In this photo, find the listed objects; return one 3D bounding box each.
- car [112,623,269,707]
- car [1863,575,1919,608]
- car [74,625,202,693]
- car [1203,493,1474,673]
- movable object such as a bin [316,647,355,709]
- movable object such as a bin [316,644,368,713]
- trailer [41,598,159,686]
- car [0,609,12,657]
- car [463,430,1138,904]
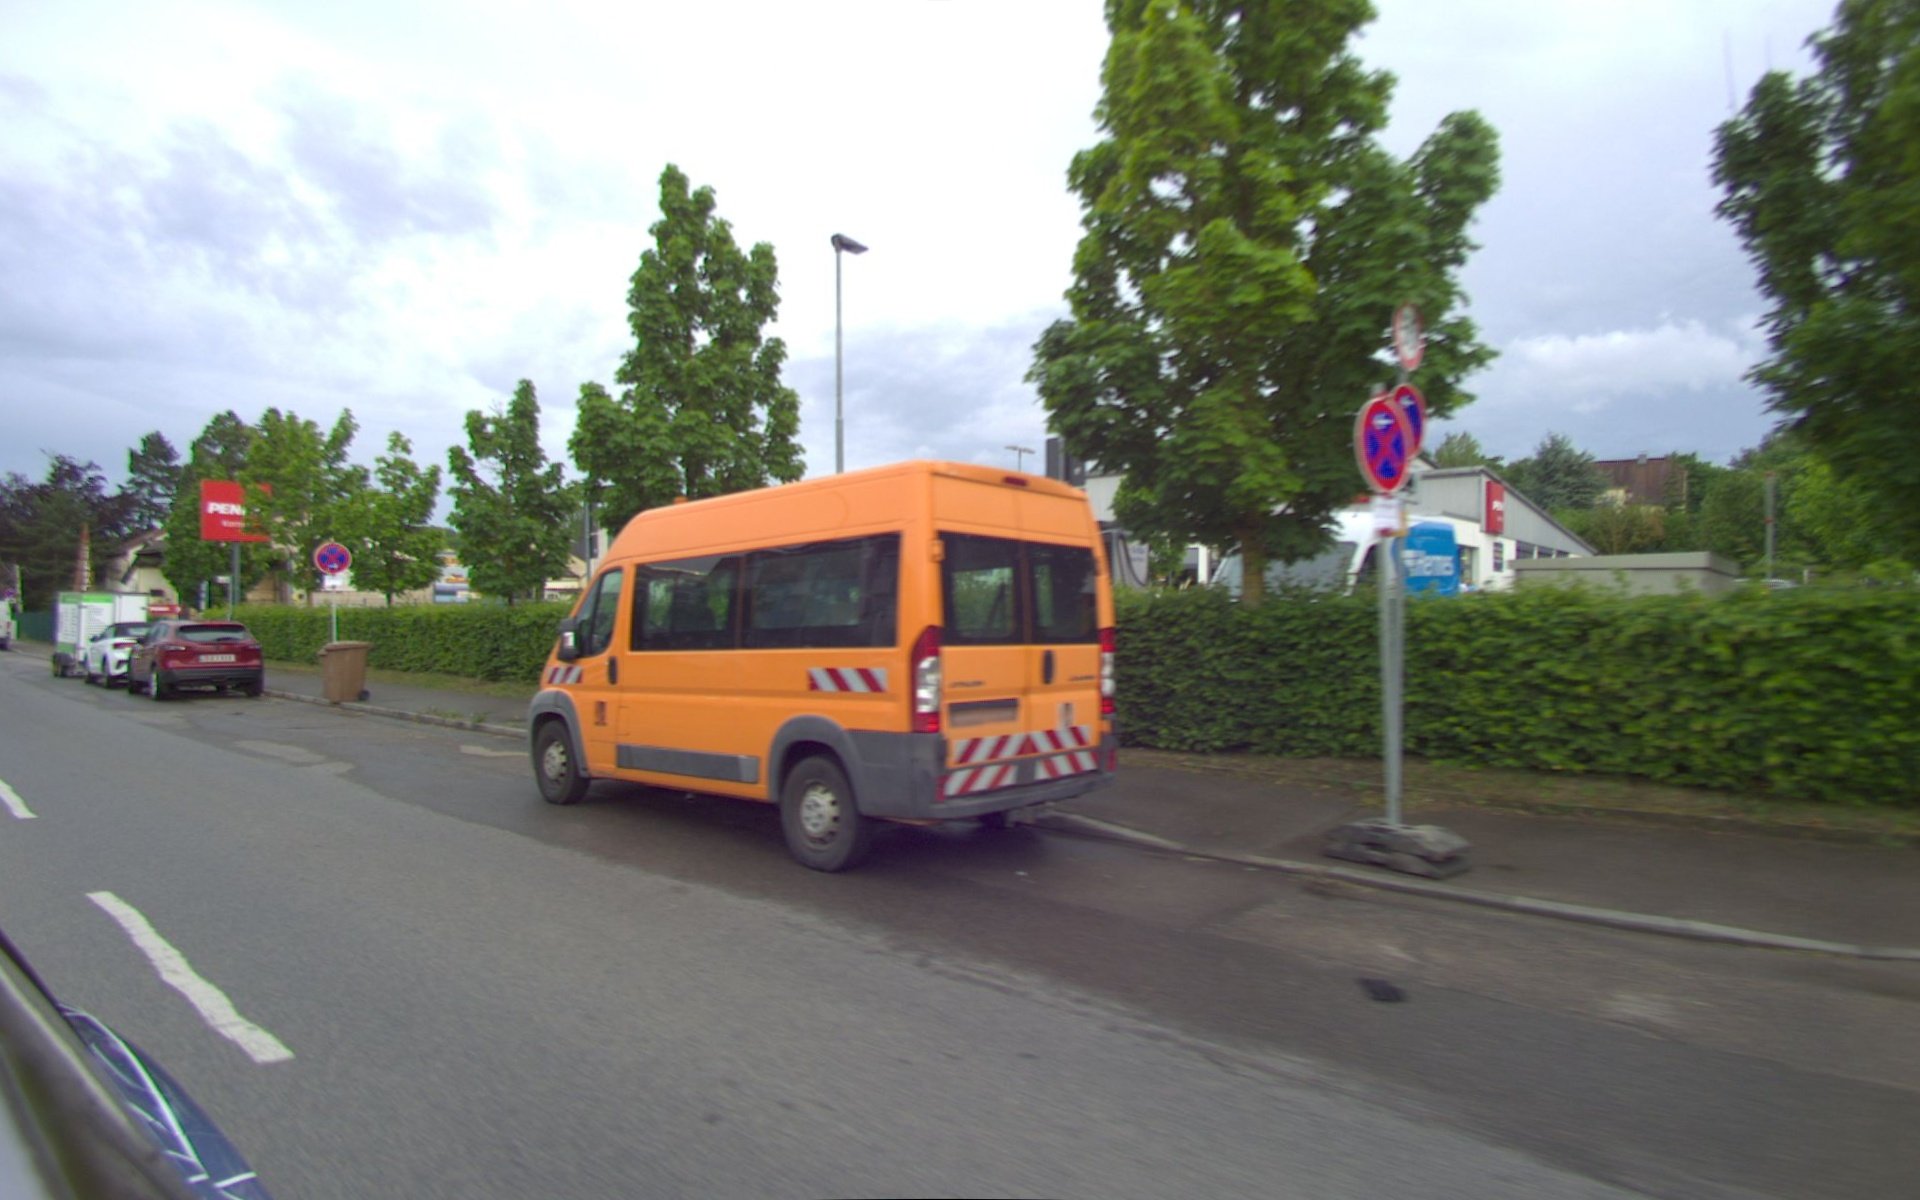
[{"bbox_3d":[-16.315,1.294,21.376,4.340,1.585,1.786,-1,-2,41],"label":"car"},{"bbox_3d":[52.352,-0.469,56.858,1.971,1.786,4.185,-1,0,36],"label":"car"},{"bbox_3d":[-20.110,1.397,24.707,4.134,1.510,1.754,-2,-2,41],"label":"car"},{"bbox_3d":[5.266,-0.218,13.757,2.062,2.029,4.261,-1,0,41],"label":"car"},{"bbox_3d":[-11.587,1.440,18.780,0.485,1.090,0.621,-1,0,-44],"label":"movable object such as a bin"},{"bbox_3d":[-11.161,1.407,18.286,0.664,1.166,0.622,-1,0,-44],"label":"movable object such as a bin"},{"bbox_3d":[-24.702,1.189,29.019,4.727,2.332,1.794,-1,-4,41],"label":"trailer"},{"bbox_3d":[-51.422,1.673,52.838,6.457,2.445,2.135,-1,-4,42],"label":"car"},{"bbox_3d":[-1.707,0.427,8.262,6.019,2.557,2.102,-1,-2,42],"label":"car"}]
